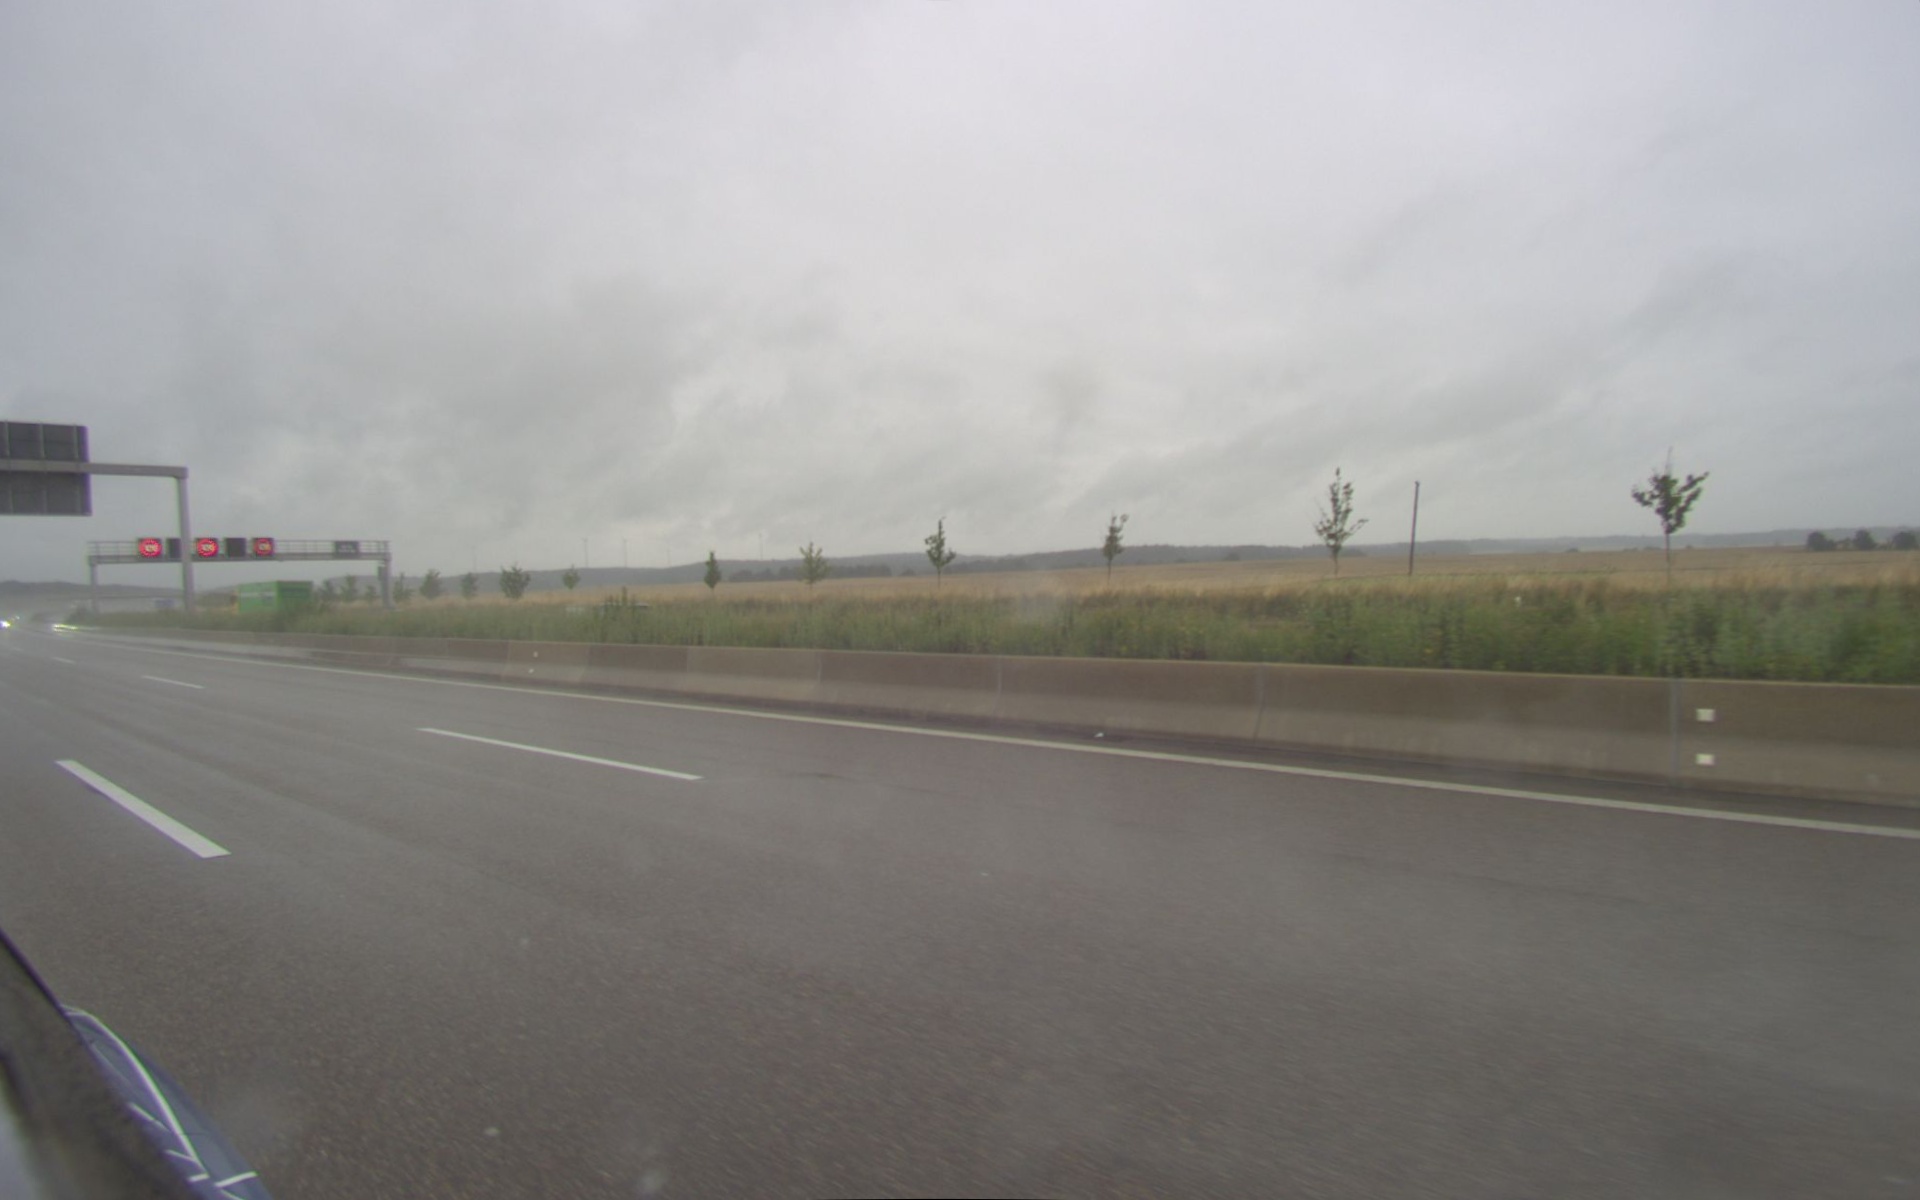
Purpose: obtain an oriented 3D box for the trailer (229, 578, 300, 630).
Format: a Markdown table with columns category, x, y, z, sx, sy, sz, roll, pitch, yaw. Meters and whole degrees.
| category | x | y | z | sx | sy | sz | roll | pitch | yaw |
| --- | --- | --- | --- | --- | --- | --- | --- | --- | --- |
| trailer | -58.838 | 0.426 | 85.442 | 14.304 | 4.070 | 1.972 | -1 | -1 | 43 |
